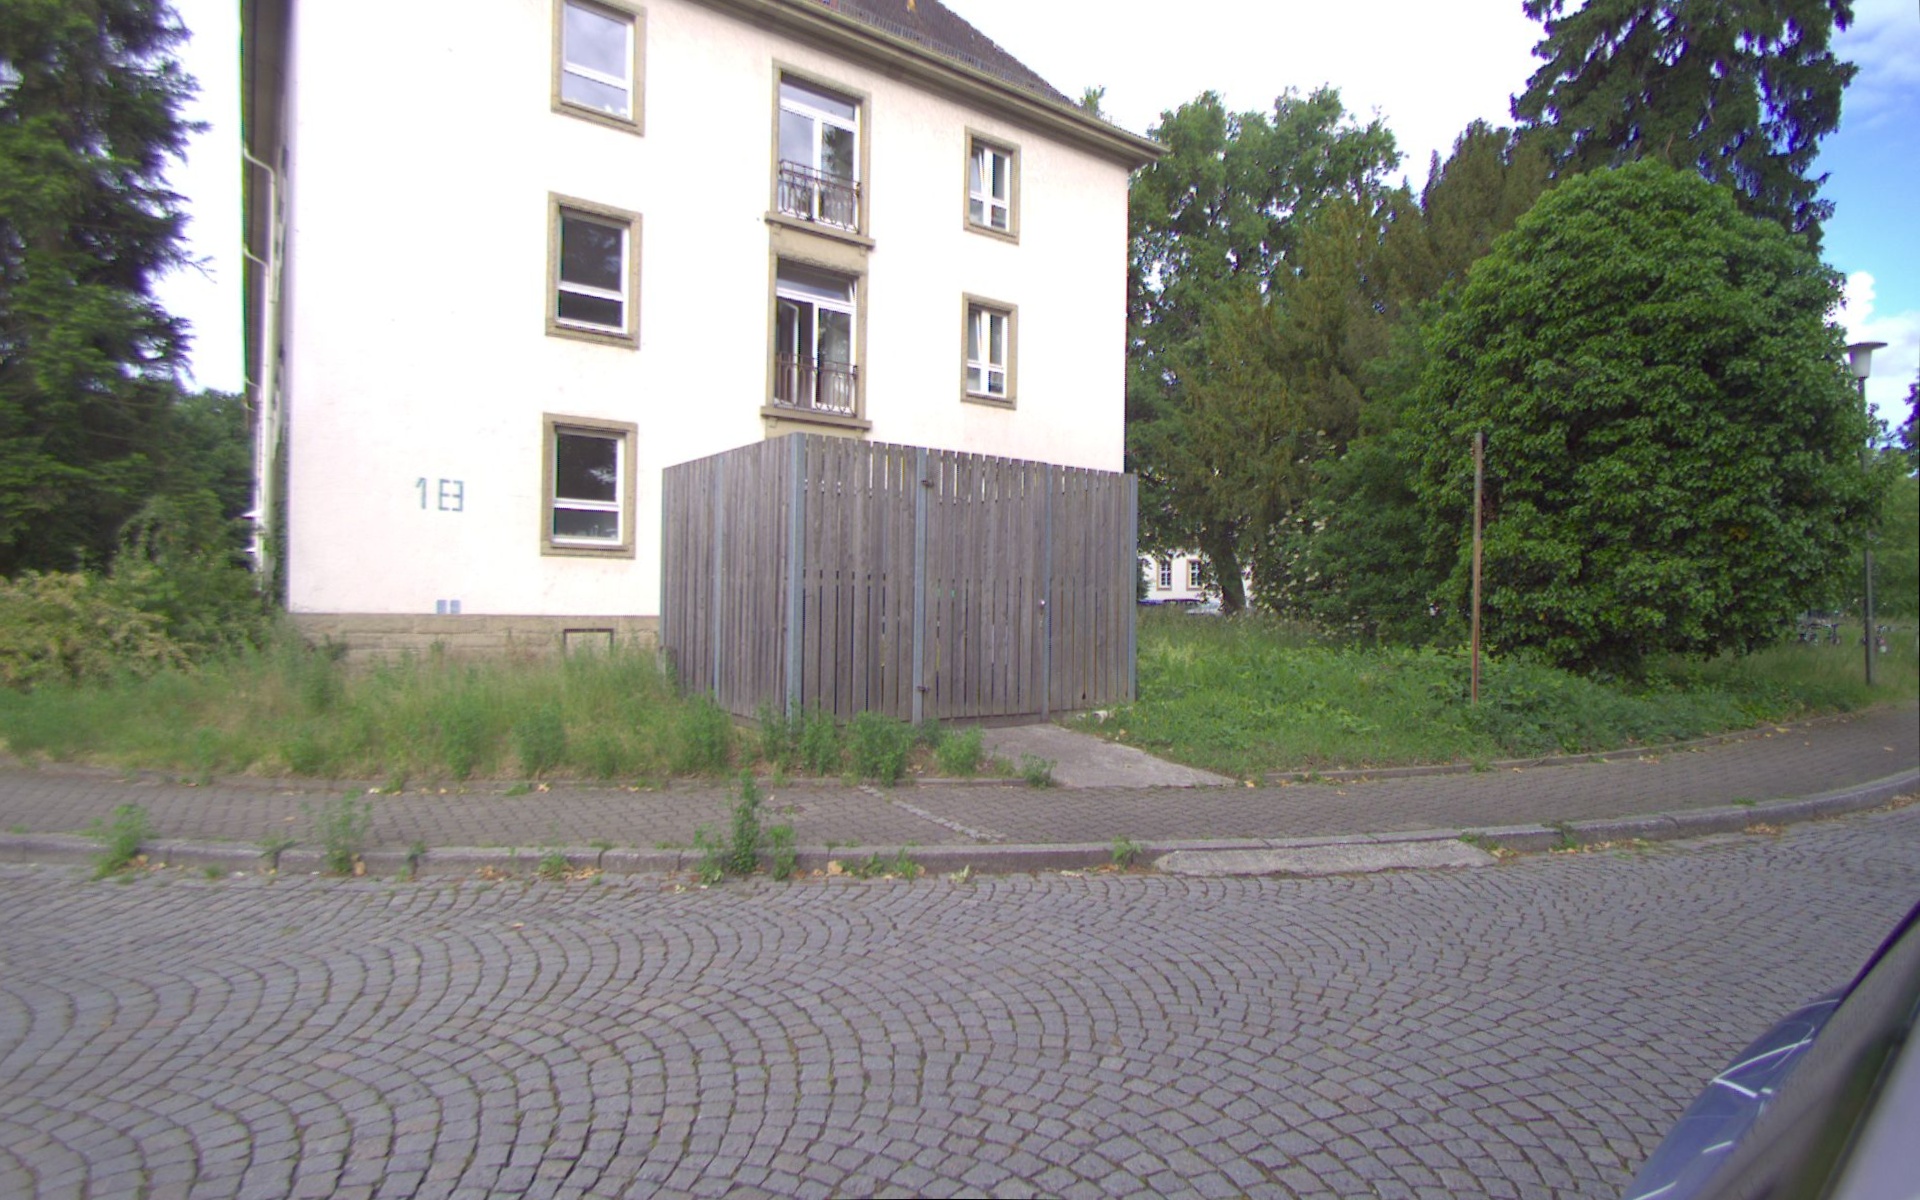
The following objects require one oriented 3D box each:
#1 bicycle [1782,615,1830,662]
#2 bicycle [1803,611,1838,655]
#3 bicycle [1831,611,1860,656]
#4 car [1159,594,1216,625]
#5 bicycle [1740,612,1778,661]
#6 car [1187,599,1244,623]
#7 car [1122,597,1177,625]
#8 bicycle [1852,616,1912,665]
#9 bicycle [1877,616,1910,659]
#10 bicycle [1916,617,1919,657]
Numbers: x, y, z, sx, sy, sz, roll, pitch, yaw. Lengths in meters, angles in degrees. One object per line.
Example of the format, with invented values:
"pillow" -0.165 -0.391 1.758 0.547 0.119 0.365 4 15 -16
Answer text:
"bicycle" 20.538 0.912 24.587 0.546 1.078 1.737 0 0 28
"bicycle" 23.188 0.874 27.290 0.474 1.126 1.745 0 0 32
"bicycle" 23.465 0.875 26.829 0.475 1.126 1.741 0 0 37
"car" 13.001 0.531 57.672 3.188 1.682 1.439 1 0 -36
"bicycle" 20.406 0.908 25.837 1.725 1.186 0.550 1 0 -44
"car" 14.048 0.600 55.624 3.188 1.233 1.297 1 0 -36
"car" 11.333 0.645 60.474 3.188 1.585 1.384 1 0 -36
"bicycle" 21.672 0.924 23.813 0.612 1.078 1.807 0 0 28
"bicycle" 24.334 0.971 26.405 0.475 1.020 1.645 0 1 37
"bicycle" 24.848 0.974 25.824 0.475 1.020 1.645 0 1 37
